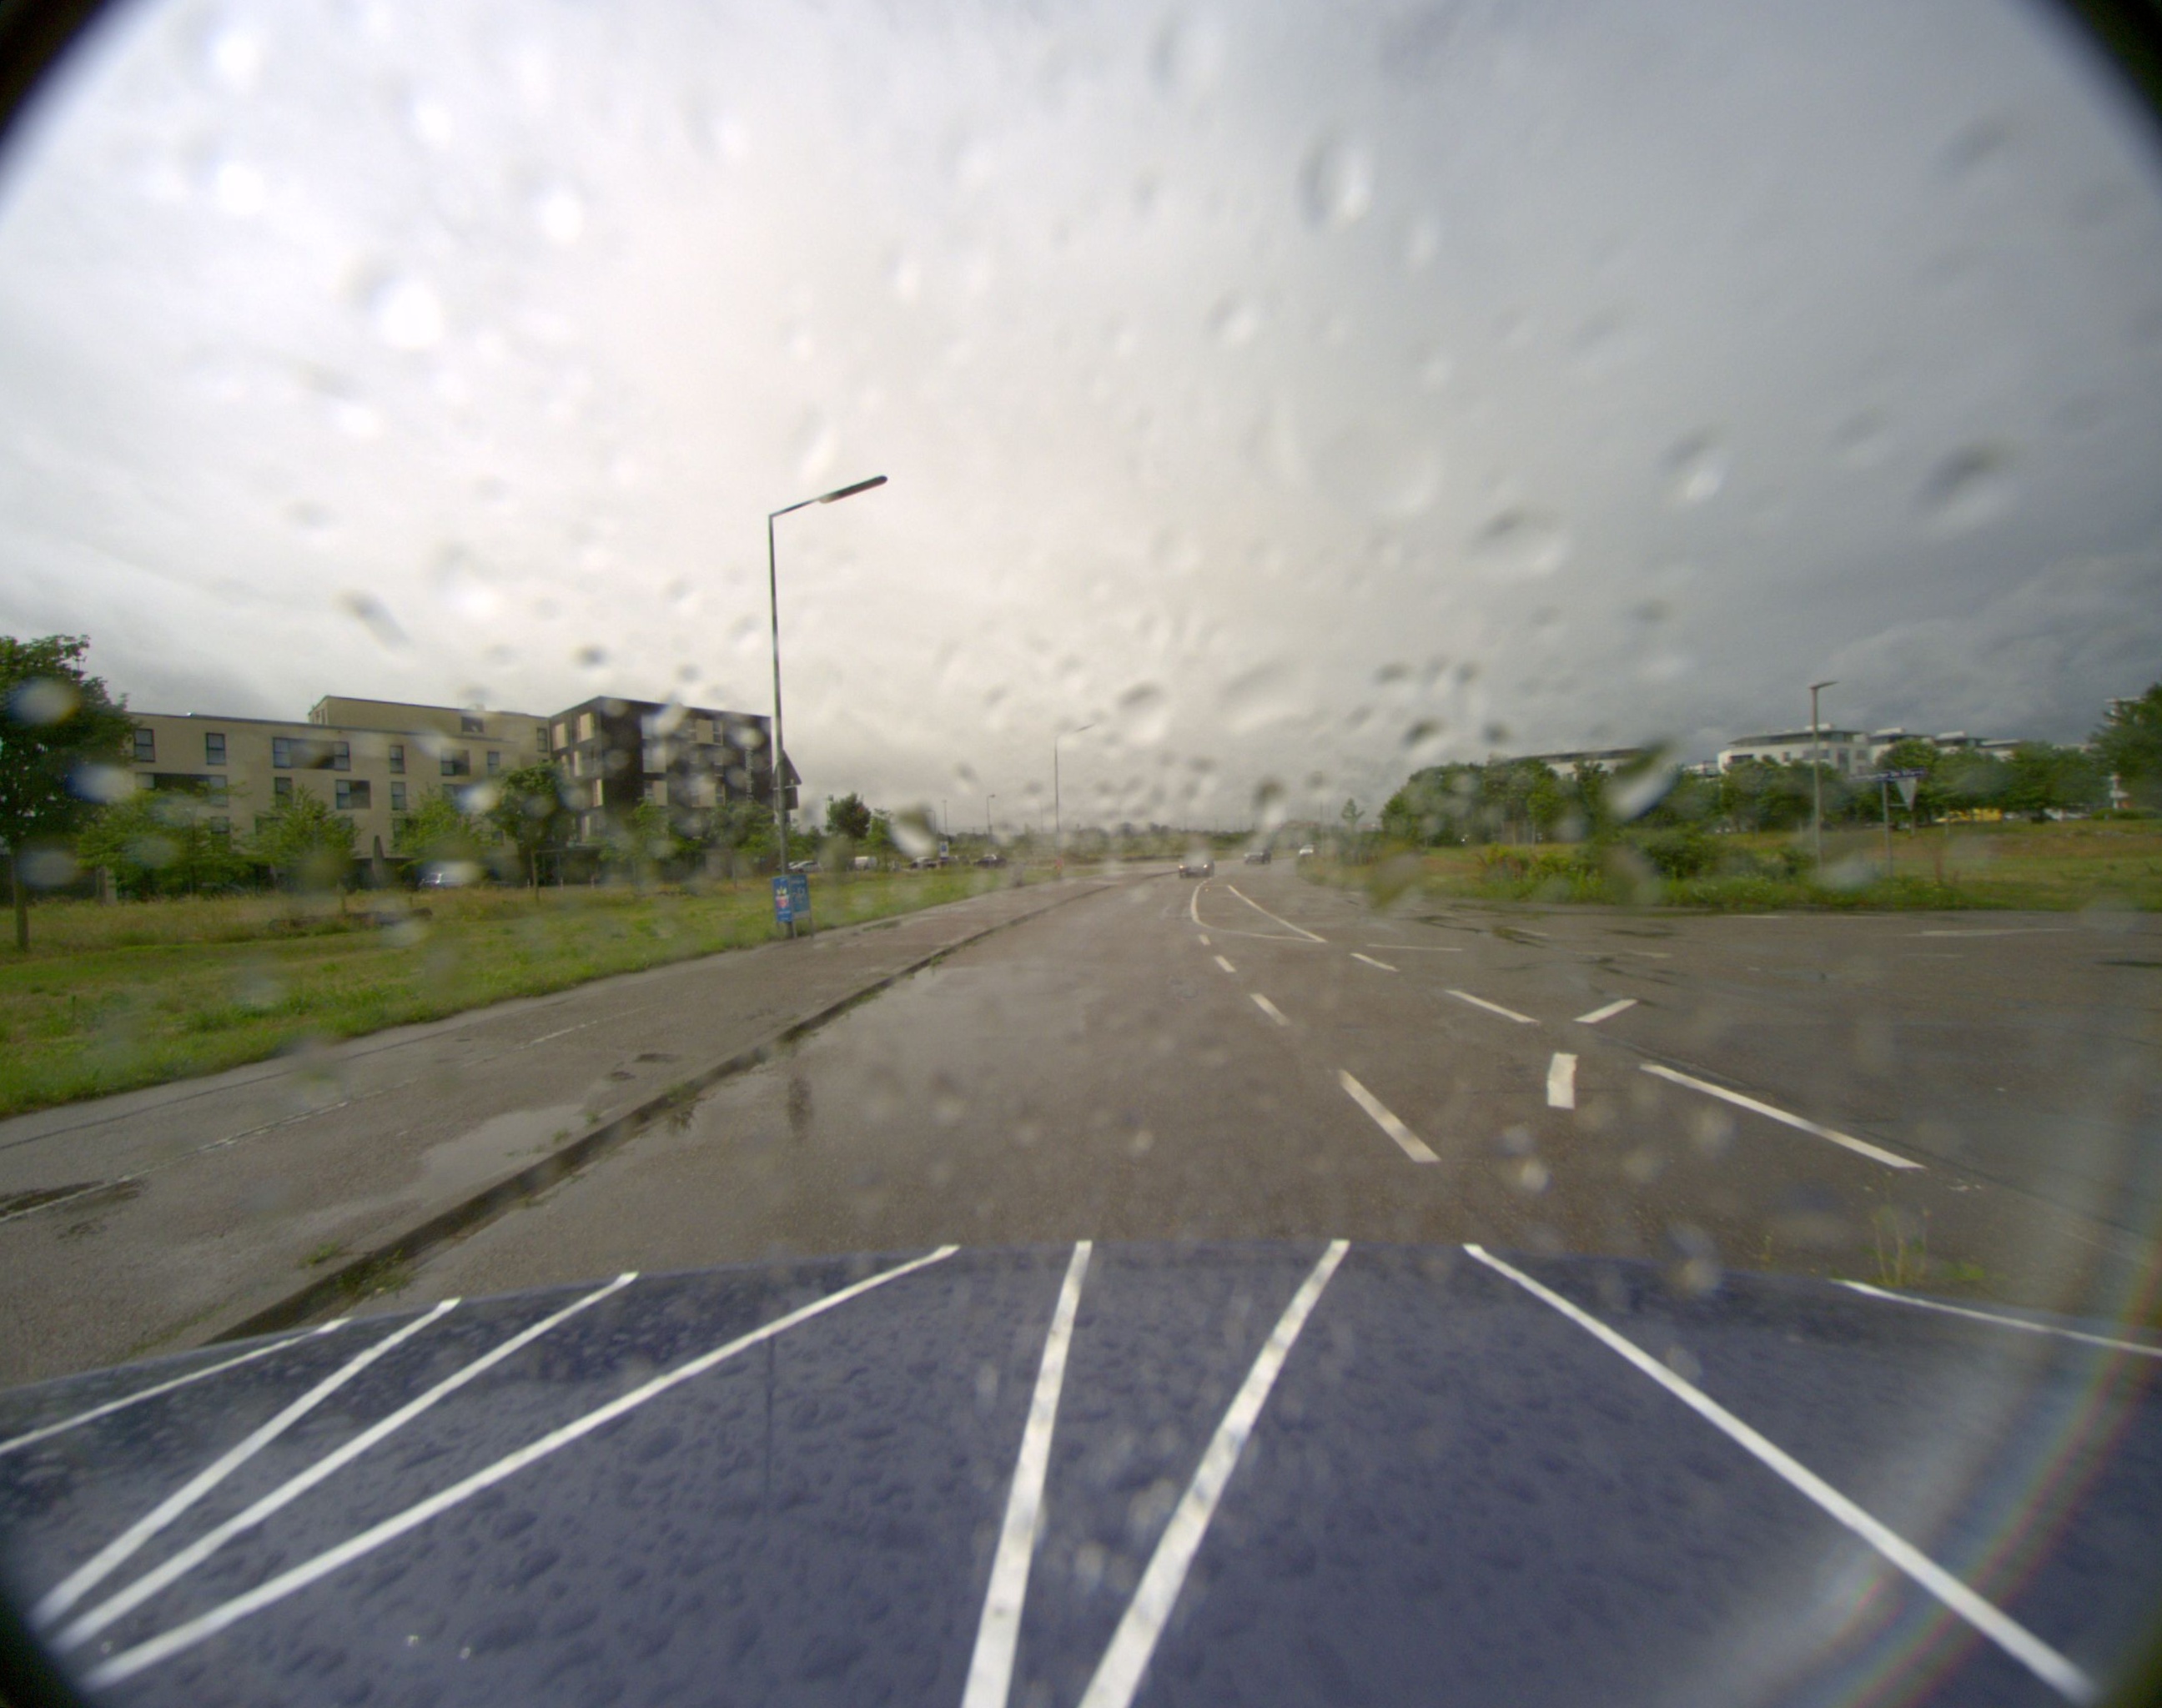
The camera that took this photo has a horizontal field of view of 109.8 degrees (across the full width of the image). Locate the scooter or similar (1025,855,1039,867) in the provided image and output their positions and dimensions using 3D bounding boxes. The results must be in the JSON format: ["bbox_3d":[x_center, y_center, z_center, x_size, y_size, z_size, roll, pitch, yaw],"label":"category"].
[{"bbox_3d":[-4.601,0.650,71.248,1.282,1.180,0.503,-1,0,9],"label":"scooter or similar"}]

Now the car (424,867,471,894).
[{"bbox_3d":[-40.642,1.658,48.686,4.206,1.549,1.670,0,2,42],"label":"car"}]

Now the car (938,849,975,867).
[{"bbox_3d":[-14.909,0.468,90.903,3.990,1.717,2.004,-6,-2,35],"label":"car"}]

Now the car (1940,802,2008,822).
[{"bbox_3d":[142.735,-6.745,121.563,6.624,2.598,1.970,-4,0,32],"label":"car"}]

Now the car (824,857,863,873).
[{"bbox_3d":[-27.286,1.266,87.214,1.781,1.518,3.850,-6,-2,37],"label":"car"}]

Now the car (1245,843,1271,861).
[{"bbox_3d":[17.617,-0.240,75.679,2.007,1.695,4.335,-2,0,19],"label":"car"}]

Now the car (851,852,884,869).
[{"bbox_3d":[-28.539,0.837,101.594,4.328,1.761,2.004,-8,-3,39],"label":"car"}]

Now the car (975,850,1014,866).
[{"bbox_3d":[-9.963,0.453,87.517,3.989,1.609,2.003,-2,3,35],"label":"car"}]

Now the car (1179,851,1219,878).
[{"bbox_3d":[7.279,0.601,46.471,1.871,1.510,4.362,-1,0,16],"label":"car"}]

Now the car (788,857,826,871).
[{"bbox_3d":[-33.086,1.219,91.862,1.764,1.387,3.815,-6,-2,37],"label":"car"}]

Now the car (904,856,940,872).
[{"bbox_3d":[-19.755,1.255,94.277,3.990,1.631,2.004,-6,-2,35],"label":"car"}]

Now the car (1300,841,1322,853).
[{"bbox_3d":[29.927,-0.906,98.870,1.838,1.510,4.365,-2,1,28],"label":"car"}]

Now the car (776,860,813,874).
[{"bbox_3d":[-35.194,1.590,93.365,1.639,1.388,3.788,-4,0,38],"label":"car"}]
